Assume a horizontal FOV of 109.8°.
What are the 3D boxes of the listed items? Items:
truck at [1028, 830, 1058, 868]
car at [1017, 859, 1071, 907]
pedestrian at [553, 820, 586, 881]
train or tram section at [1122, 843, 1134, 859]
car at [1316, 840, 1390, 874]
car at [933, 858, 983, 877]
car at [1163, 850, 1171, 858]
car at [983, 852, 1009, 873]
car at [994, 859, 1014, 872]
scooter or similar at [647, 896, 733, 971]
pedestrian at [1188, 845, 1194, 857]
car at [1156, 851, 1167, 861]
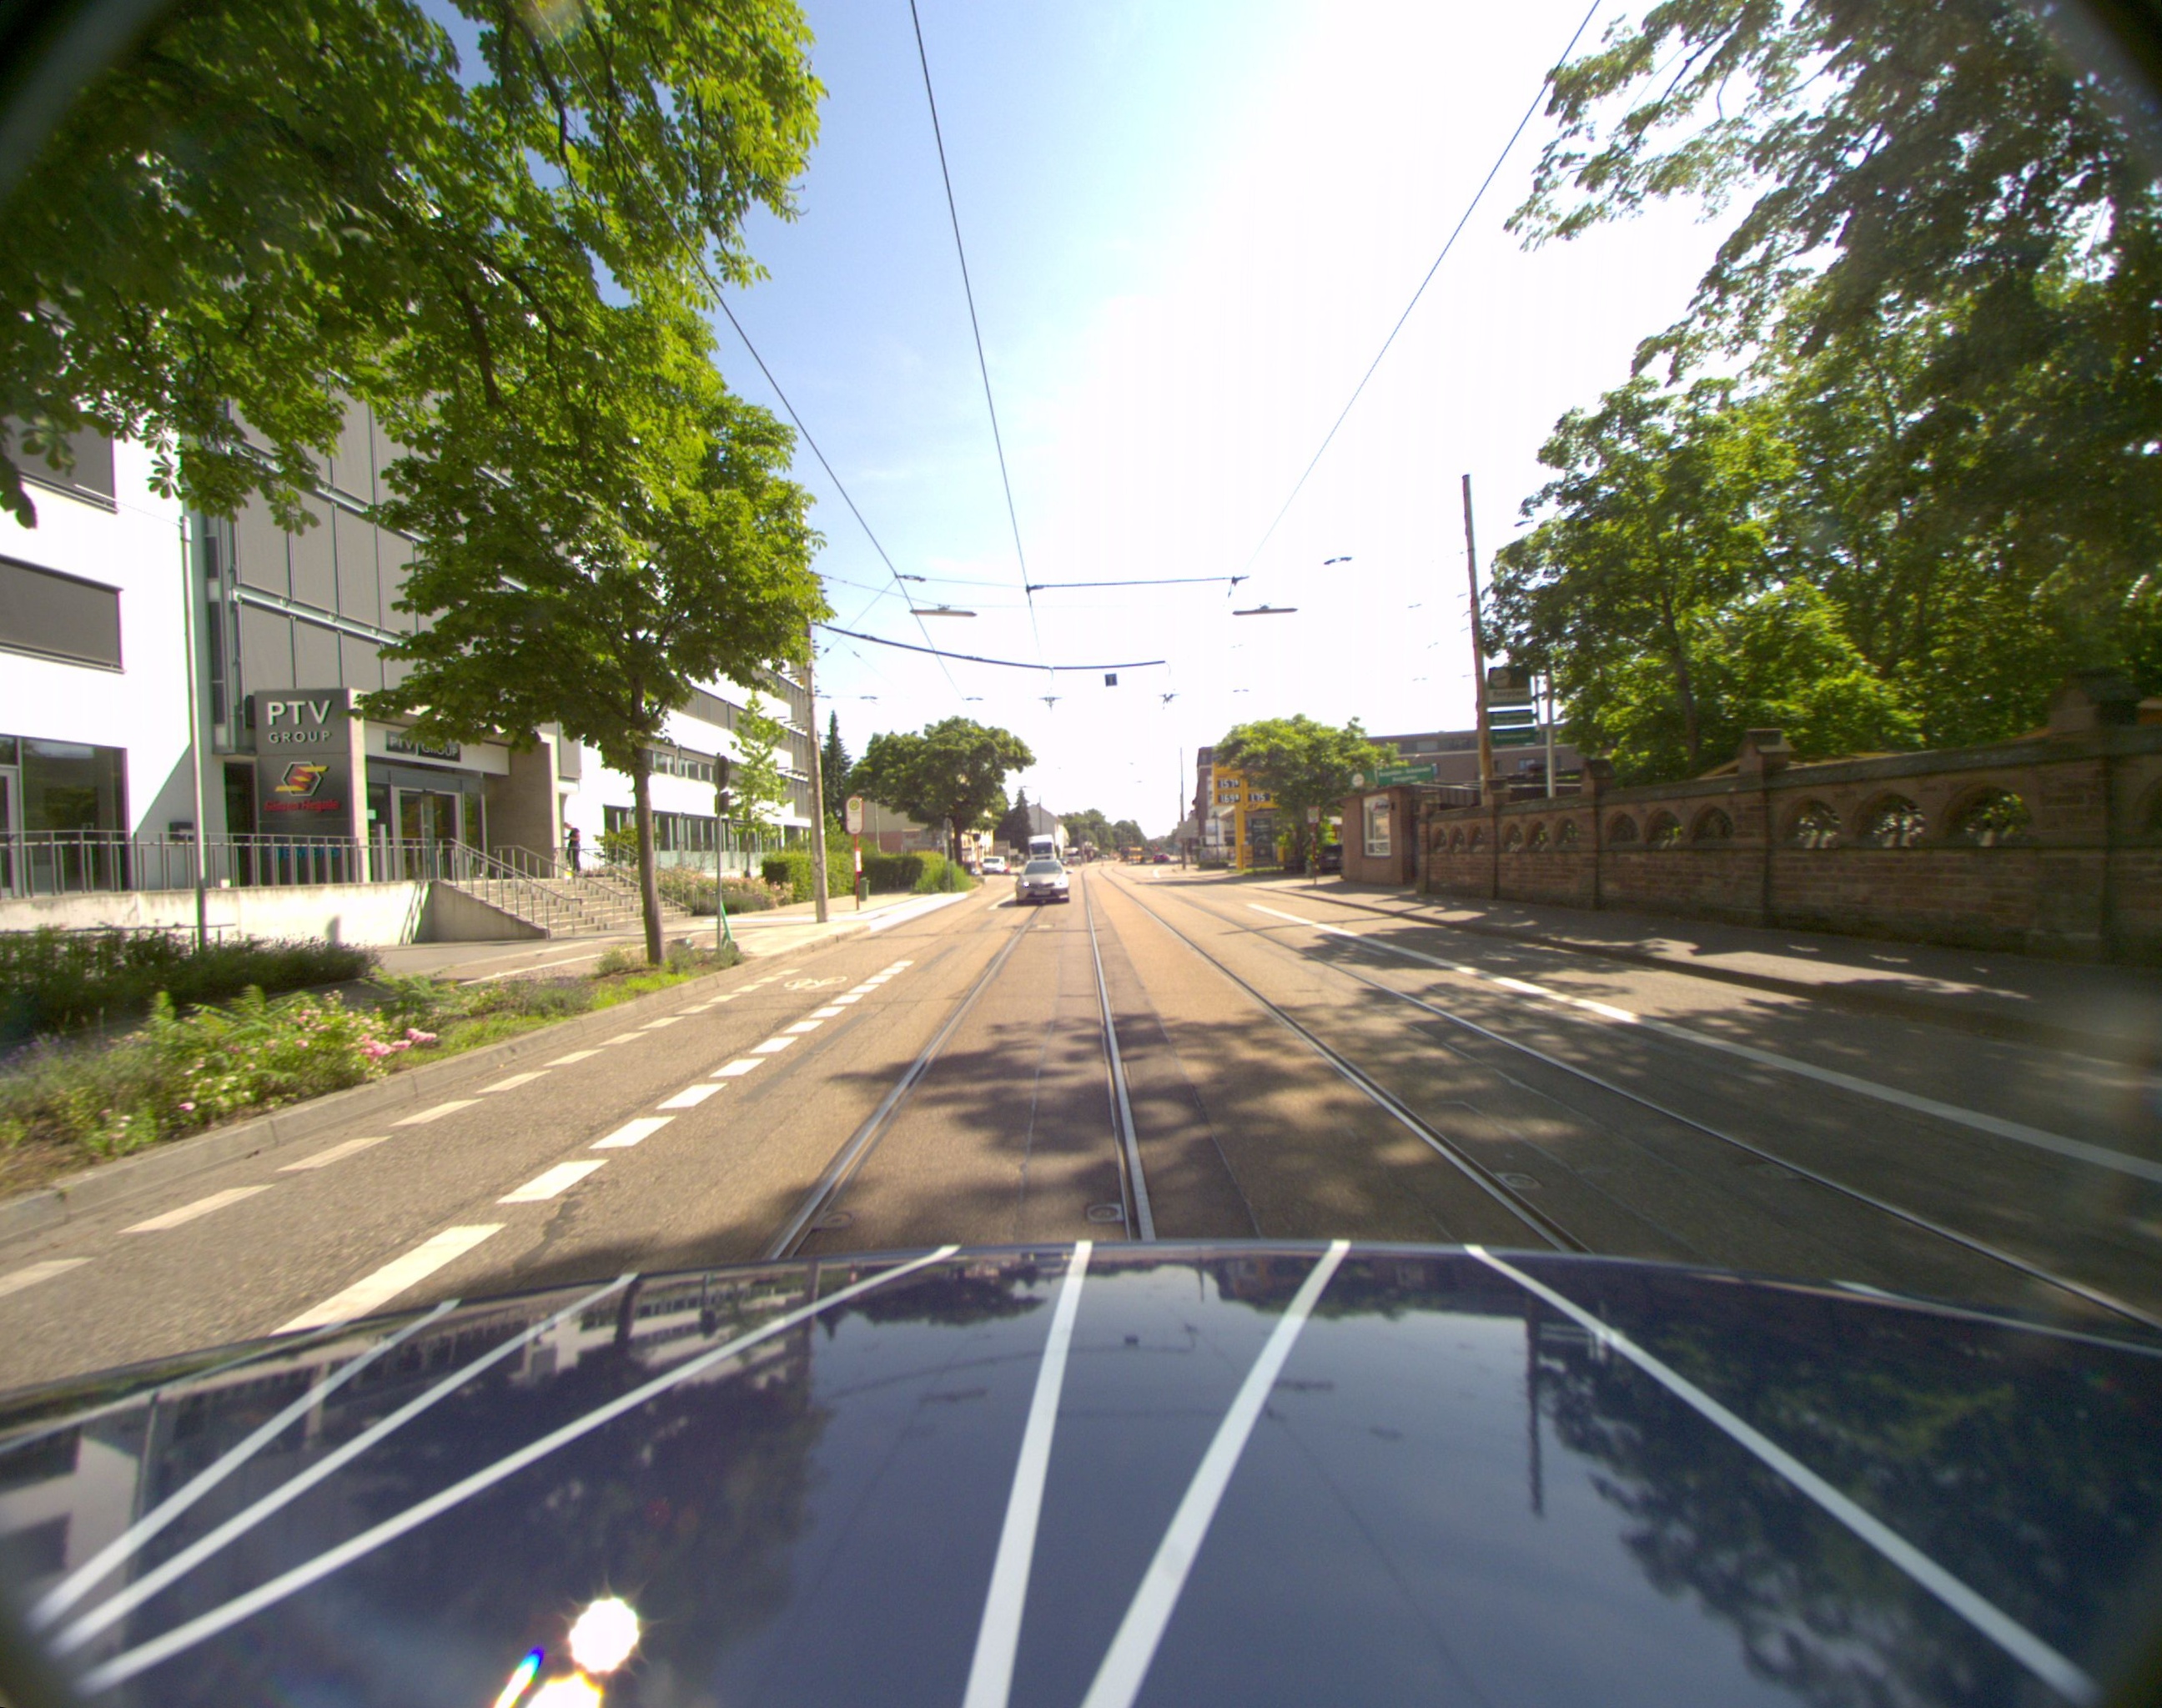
[{"bbox_3d":[-3.960,-0.494,80.553,2.657,3.772,7.863,-2,0,0],"label":"truck"},{"bbox_3d":[-1.256,0.933,26.193,1.696,1.440,4.480,0,0,-2],"label":"car"},{"bbox_3d":[-14.810,-0.102,22.017,0.500,1.718,0.547,-2,1,-1],"label":"pedestrian"},{"bbox_3d":[11.484,-0.732,185.992,2.685,3.460,13.342,-2,0,4],"label":"train or tram section"},{"bbox_3d":[14.559,0.123,40.526,1.944,1.615,4.587,-2,0,45],"label":"car"},{"bbox_3d":[-9.981,1.097,61.954,3.754,1.380,1.671,-2,0,1],"label":"car"},{"bbox_3d":[18.847,-0.093,166.399,1.715,1.613,3.581,-3,0,8],"label":"car"},{"bbox_3d":[-8.757,0.815,78.406,1.981,2.043,5.191,0,1,1],"label":"car"},{"bbox_3d":[-8.560,1.258,85.101,1.726,1.435,4.312,0,0,1],"label":"car"},{"bbox_3d":[-6.477,1.308,12.610,1.145,1.147,0.493,-2,1,6],"label":"scooter or similar"},{"bbox_3d":[17.226,-0.406,118.753,0.846,1.808,0.839,-2,0,8],"label":"pedestrian"},{"bbox_3d":[13.805,0.384,131.108,1.750,1.562,3.892,-1,1,4],"label":"car"}]
